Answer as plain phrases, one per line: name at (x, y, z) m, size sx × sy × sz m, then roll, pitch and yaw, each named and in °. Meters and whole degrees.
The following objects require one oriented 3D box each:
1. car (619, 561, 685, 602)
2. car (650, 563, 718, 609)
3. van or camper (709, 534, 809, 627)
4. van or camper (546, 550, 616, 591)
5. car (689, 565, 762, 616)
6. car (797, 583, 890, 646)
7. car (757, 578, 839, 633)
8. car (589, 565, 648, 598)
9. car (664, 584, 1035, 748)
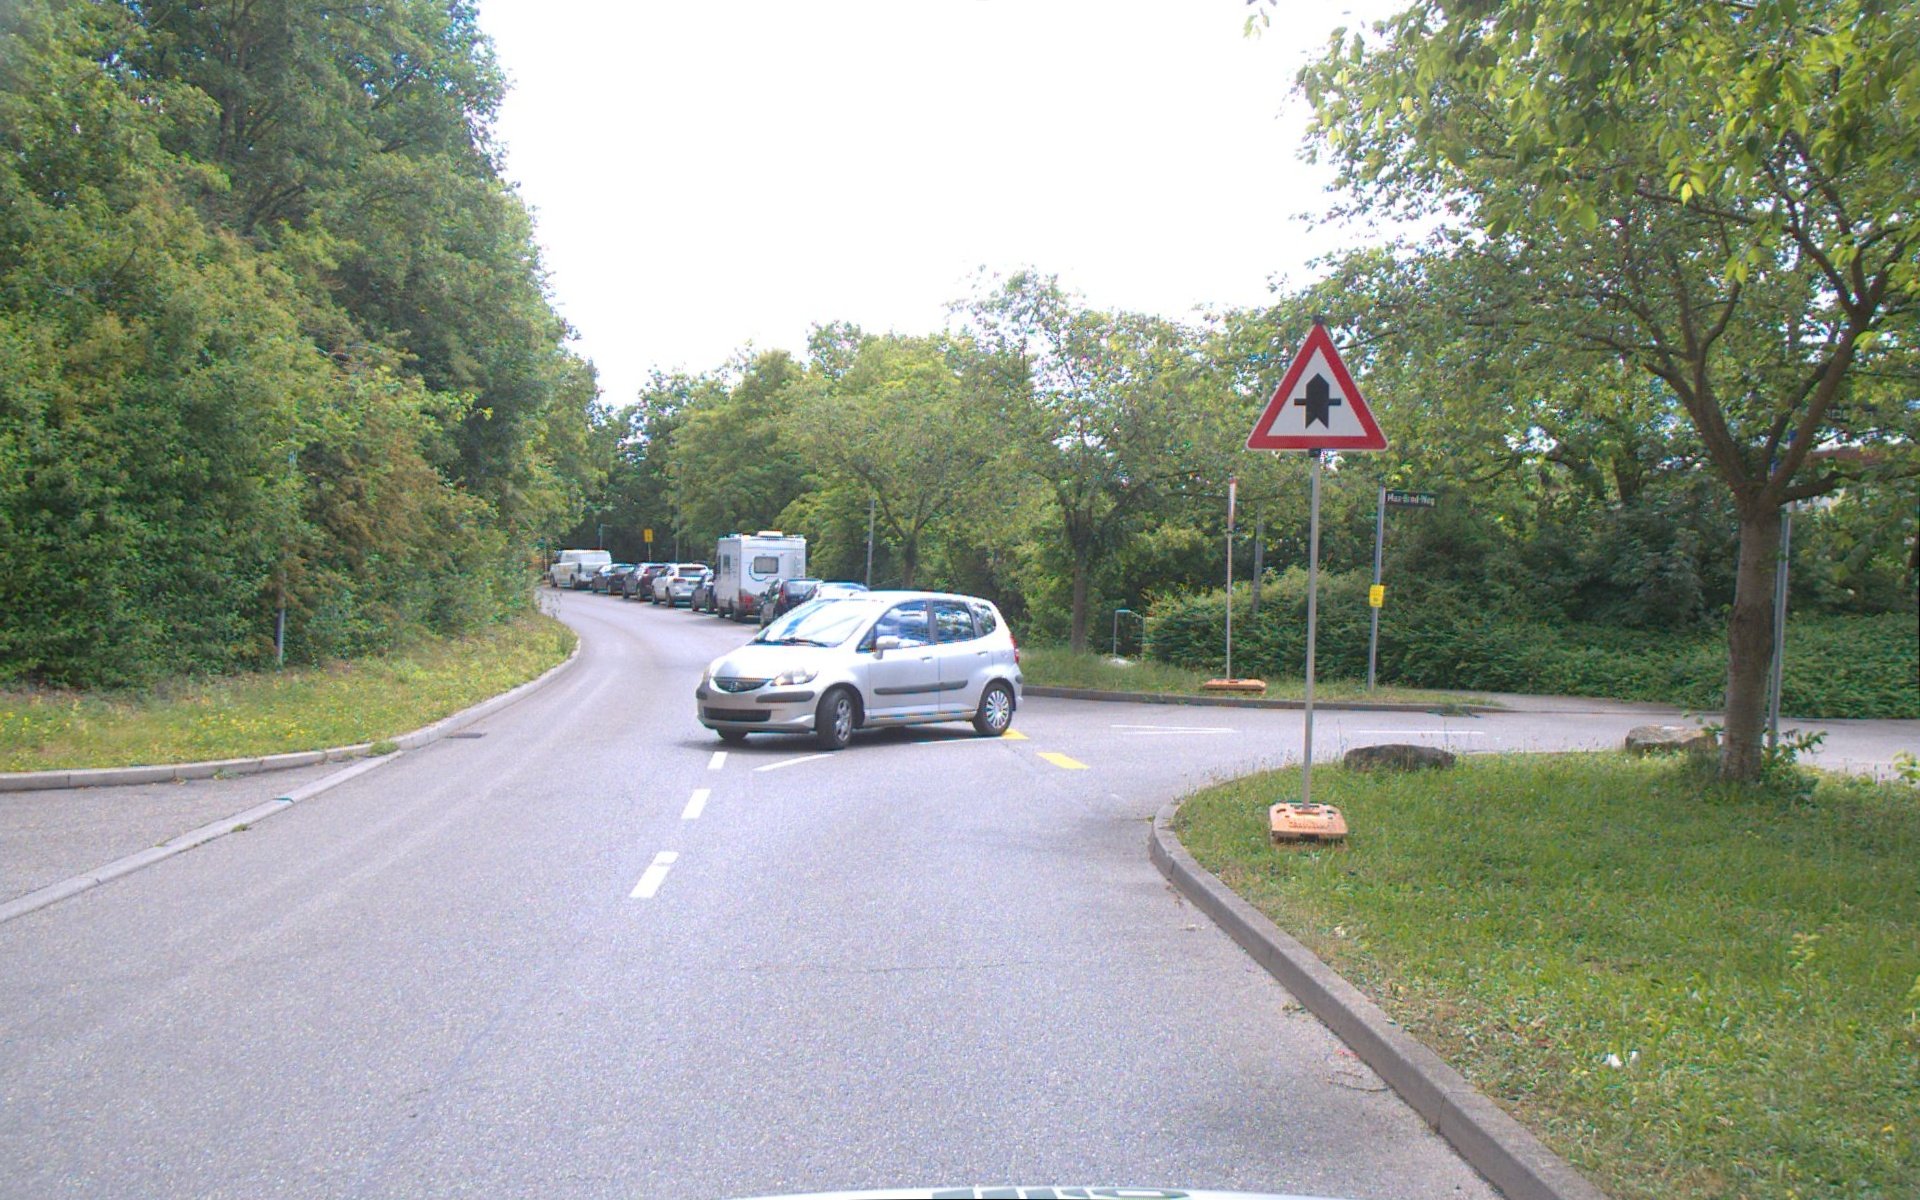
car at (-13.849, -0.866, 74.193) m, size 1.968 × 1.654 × 4.247 m, roll -2°, pitch 3°, yaw -24°
car at (-11.502, -0.605, 68.733) m, size 1.845 × 1.718 × 4.550 m, roll 1°, pitch 2°, yaw -22°
van or camper at (-6.930, -0.697, 56.317) m, size 2.295 × 2.919 × 6.122 m, roll 1°, pitch 1°, yaw -17°
van or camper at (-19.596, -1.555, 85.367) m, size 1.974 × 1.953 × 5.210 m, roll -1°, pitch 3°, yaw -31°
car at (-8.835, -0.390, 62.101) m, size 1.688 × 1.618 × 3.974 m, roll -7°, pitch 4°, yaw -22°
car at (-3.016, 0.313, 41.965) m, size 1.745 × 1.459 × 4.320 m, roll 0°, pitch 1°, yaw -13°
car at (-4.846, 0.155, 48.973) m, size 1.701 × 1.545 × 3.871 m, roll 0°, pitch 0°, yaw -17°
car at (-16.604, -0.914, 80.359) m, size 1.777 × 1.489 × 3.964 m, roll 0°, pitch 2°, yaw -28°
car at (-1.060, 0.632, 17.139) m, size 1.814 × 1.481 × 3.631 m, roll 1°, pitch 0°, yaw 41°
